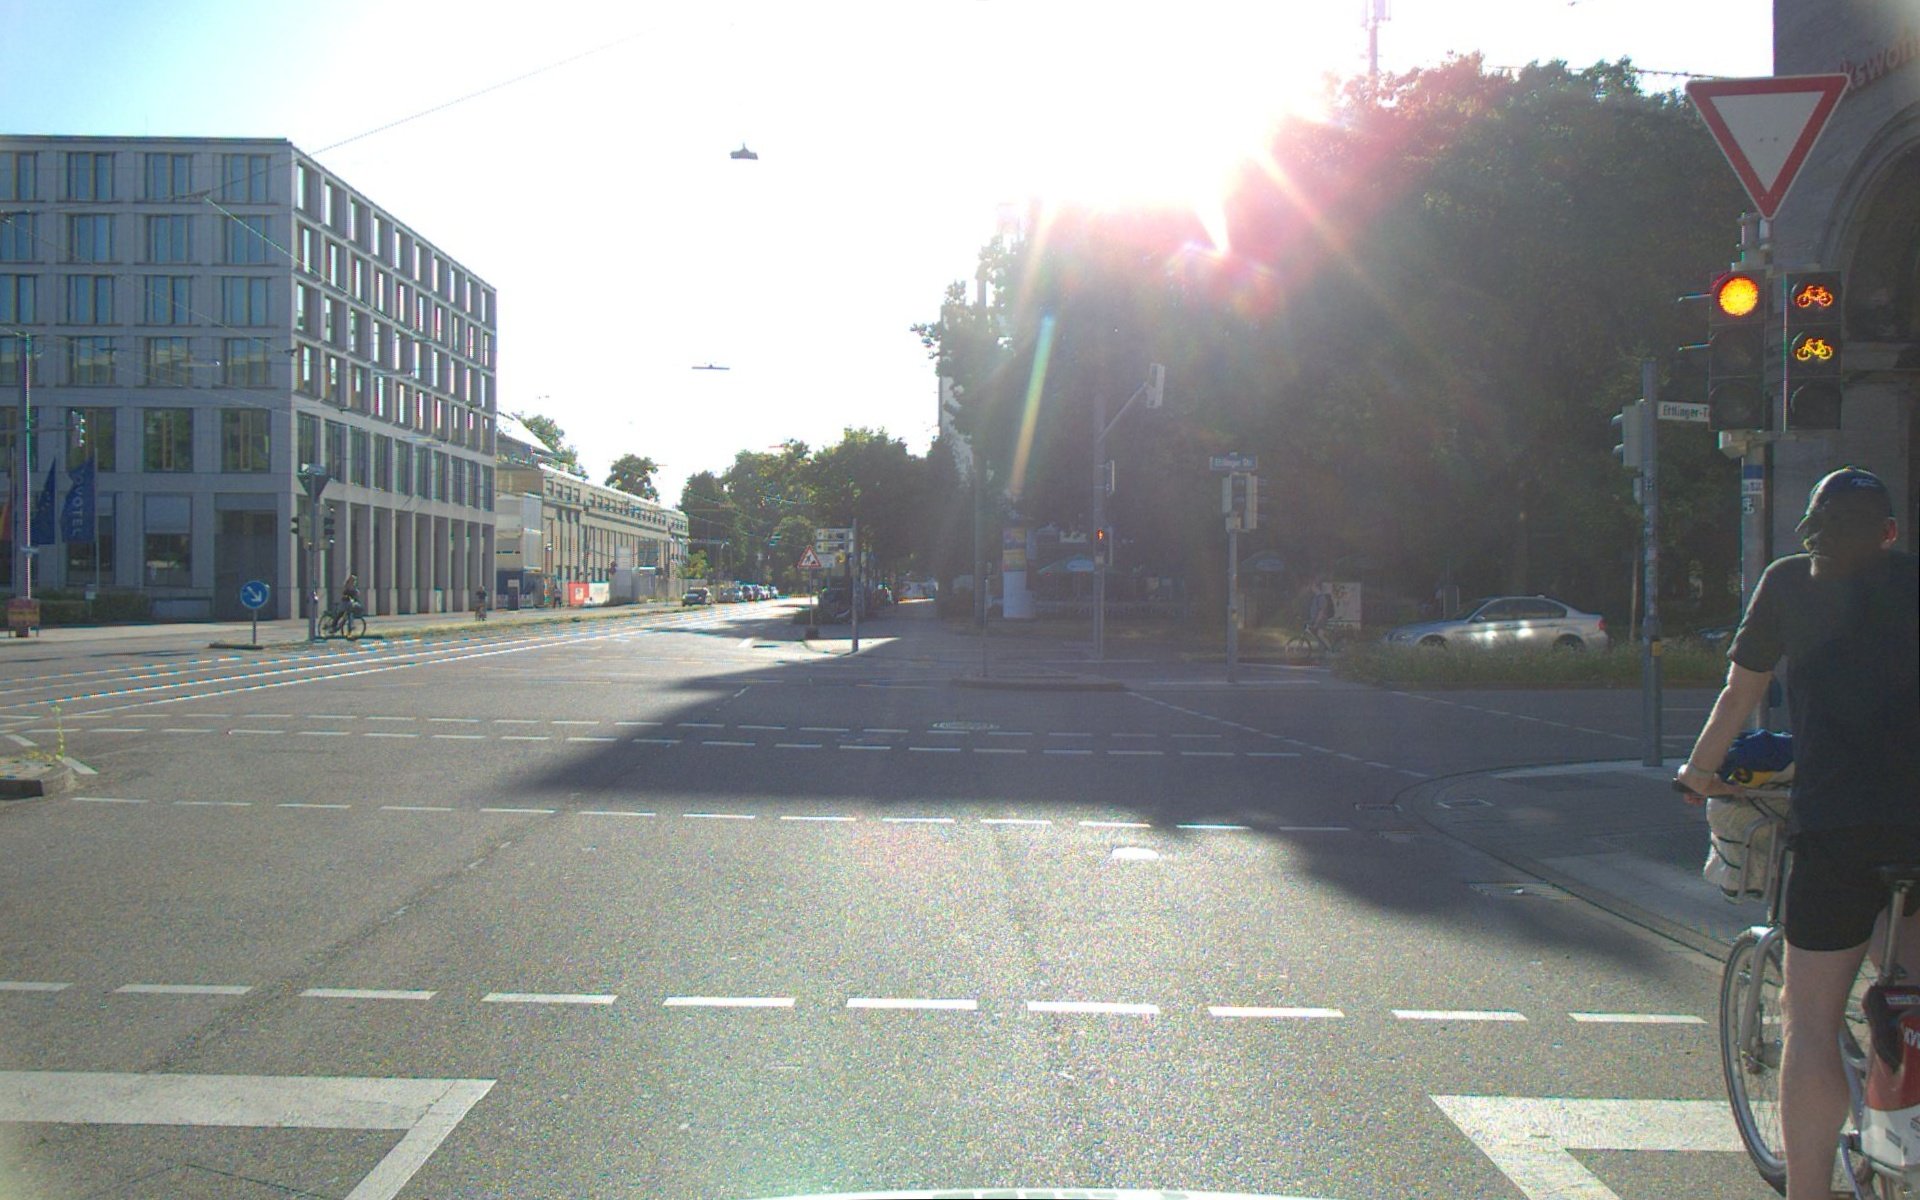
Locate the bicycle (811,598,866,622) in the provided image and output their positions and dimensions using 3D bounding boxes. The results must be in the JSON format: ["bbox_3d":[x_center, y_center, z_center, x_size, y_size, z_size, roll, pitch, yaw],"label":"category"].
[{"bbox_3d":[-4.937,0.411,67.125,2.201,0.956,0.653,0,0,-6],"label":"bicycle"}]

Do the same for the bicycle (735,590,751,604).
[{"bbox_3d":[-19.960,-0.240,152.250,0.735,1.226,3.109,1,0,5],"label":"bicycle"}]

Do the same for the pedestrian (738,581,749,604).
[{"bbox_3d":[-19.953,-0.683,152.323,0.735,2.099,1.050,1,-1,5],"label":"pedestrian"}]

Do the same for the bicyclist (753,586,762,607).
[{"bbox_3d":[-19.318,-0.319,157.835,0.735,1.953,1.214,1,0,-2],"label":"bicyclist"}]

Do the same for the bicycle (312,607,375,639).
[{"bbox_3d":[-16.273,0.606,43.619,1.679,0.837,0.573,0,0,27],"label":"bicycle"}]

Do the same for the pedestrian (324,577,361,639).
[{"bbox_3d":[-16.290,0.209,43.631,0.727,1.623,0.573,0,0,26],"label":"pedestrian"}]

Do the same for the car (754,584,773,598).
[{"bbox_3d":[-23.054,-1.036,194.350,1.954,1.673,3.997,0,0,-4],"label":"car"}]

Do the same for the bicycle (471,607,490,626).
[{"bbox_3d":[-21.538,0.748,74.267,0.484,0.854,1.156,0,0,2],"label":"bicycle"}]

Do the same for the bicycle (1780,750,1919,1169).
[{"bbox_3d":[2.889,1.013,4.383,0.570,1.062,1.747,0,0,0],"label":"bicycle"}]

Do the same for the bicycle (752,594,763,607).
[{"bbox_3d":[-19.332,0.037,157.952,0.735,1.226,3.107,1,0,-2],"label":"bicycle"}]

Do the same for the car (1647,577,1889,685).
[{"bbox_3d":[16.234,0.614,33.374,3.905,2.049,2.000,1,0,0],"label":"car"}]

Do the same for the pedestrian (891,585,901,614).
[{"bbox_3d":[-3.784,-0.023,97.573,0.566,1.719,0.584,0,0,-8],"label":"pedestrian"}]

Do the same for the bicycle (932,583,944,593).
[{"bbox_3d":[-2.679,-1.472,200.437,0.875,1.240,2.785,1,0,-12],"label":"bicycle"}]

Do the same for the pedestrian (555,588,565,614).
[{"bbox_3d":[-29.582,0.071,122.420,0.576,1.922,0.478,1,-1,-1],"label":"pedestrian"}]

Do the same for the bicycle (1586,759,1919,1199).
[{"bbox_3d":[2.142,0.997,3.907,0.610,1.062,1.746,0,0,-2],"label":"bicycle"}]

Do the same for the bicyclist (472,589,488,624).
[{"bbox_3d":[-21.540,0.290,74.260,0.484,1.525,0.666,0,0,2],"label":"bicyclist"}]

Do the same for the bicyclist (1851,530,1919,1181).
[{"bbox_3d":[2.889,0.693,4.348,0.572,1.769,0.950,0,0,0],"label":"bicyclist"}]

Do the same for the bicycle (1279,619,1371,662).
[{"bbox_3d":[8.040,0.884,36.479,1.902,0.905,0.718,1,0,5],"label":"bicycle"}]

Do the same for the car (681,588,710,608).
[{"bbox_3d":[-21.655,-0.173,135.428,1.954,1.627,3.997,0,0,-3],"label":"car"}]

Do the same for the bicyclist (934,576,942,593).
[{"bbox_3d":[-2.671,-1.881,200.480,0.875,2.049,0.746,1,-1,-12],"label":"bicyclist"}]

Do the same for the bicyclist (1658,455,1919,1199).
[{"bbox_3d":[2.143,0.570,3.878,0.610,1.745,0.912,0,0,-1],"label":"bicyclist"}]

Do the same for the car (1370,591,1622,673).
[{"bbox_3d":[10.855,0.634,33.719,4.483,1.543,2.000,1,0,-1],"label":"car"}]

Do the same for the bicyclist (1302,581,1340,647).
[{"bbox_3d":[7.961,0.309,36.486,0.731,1.431,0.702,1,-1,6],"label":"bicyclist"}]
